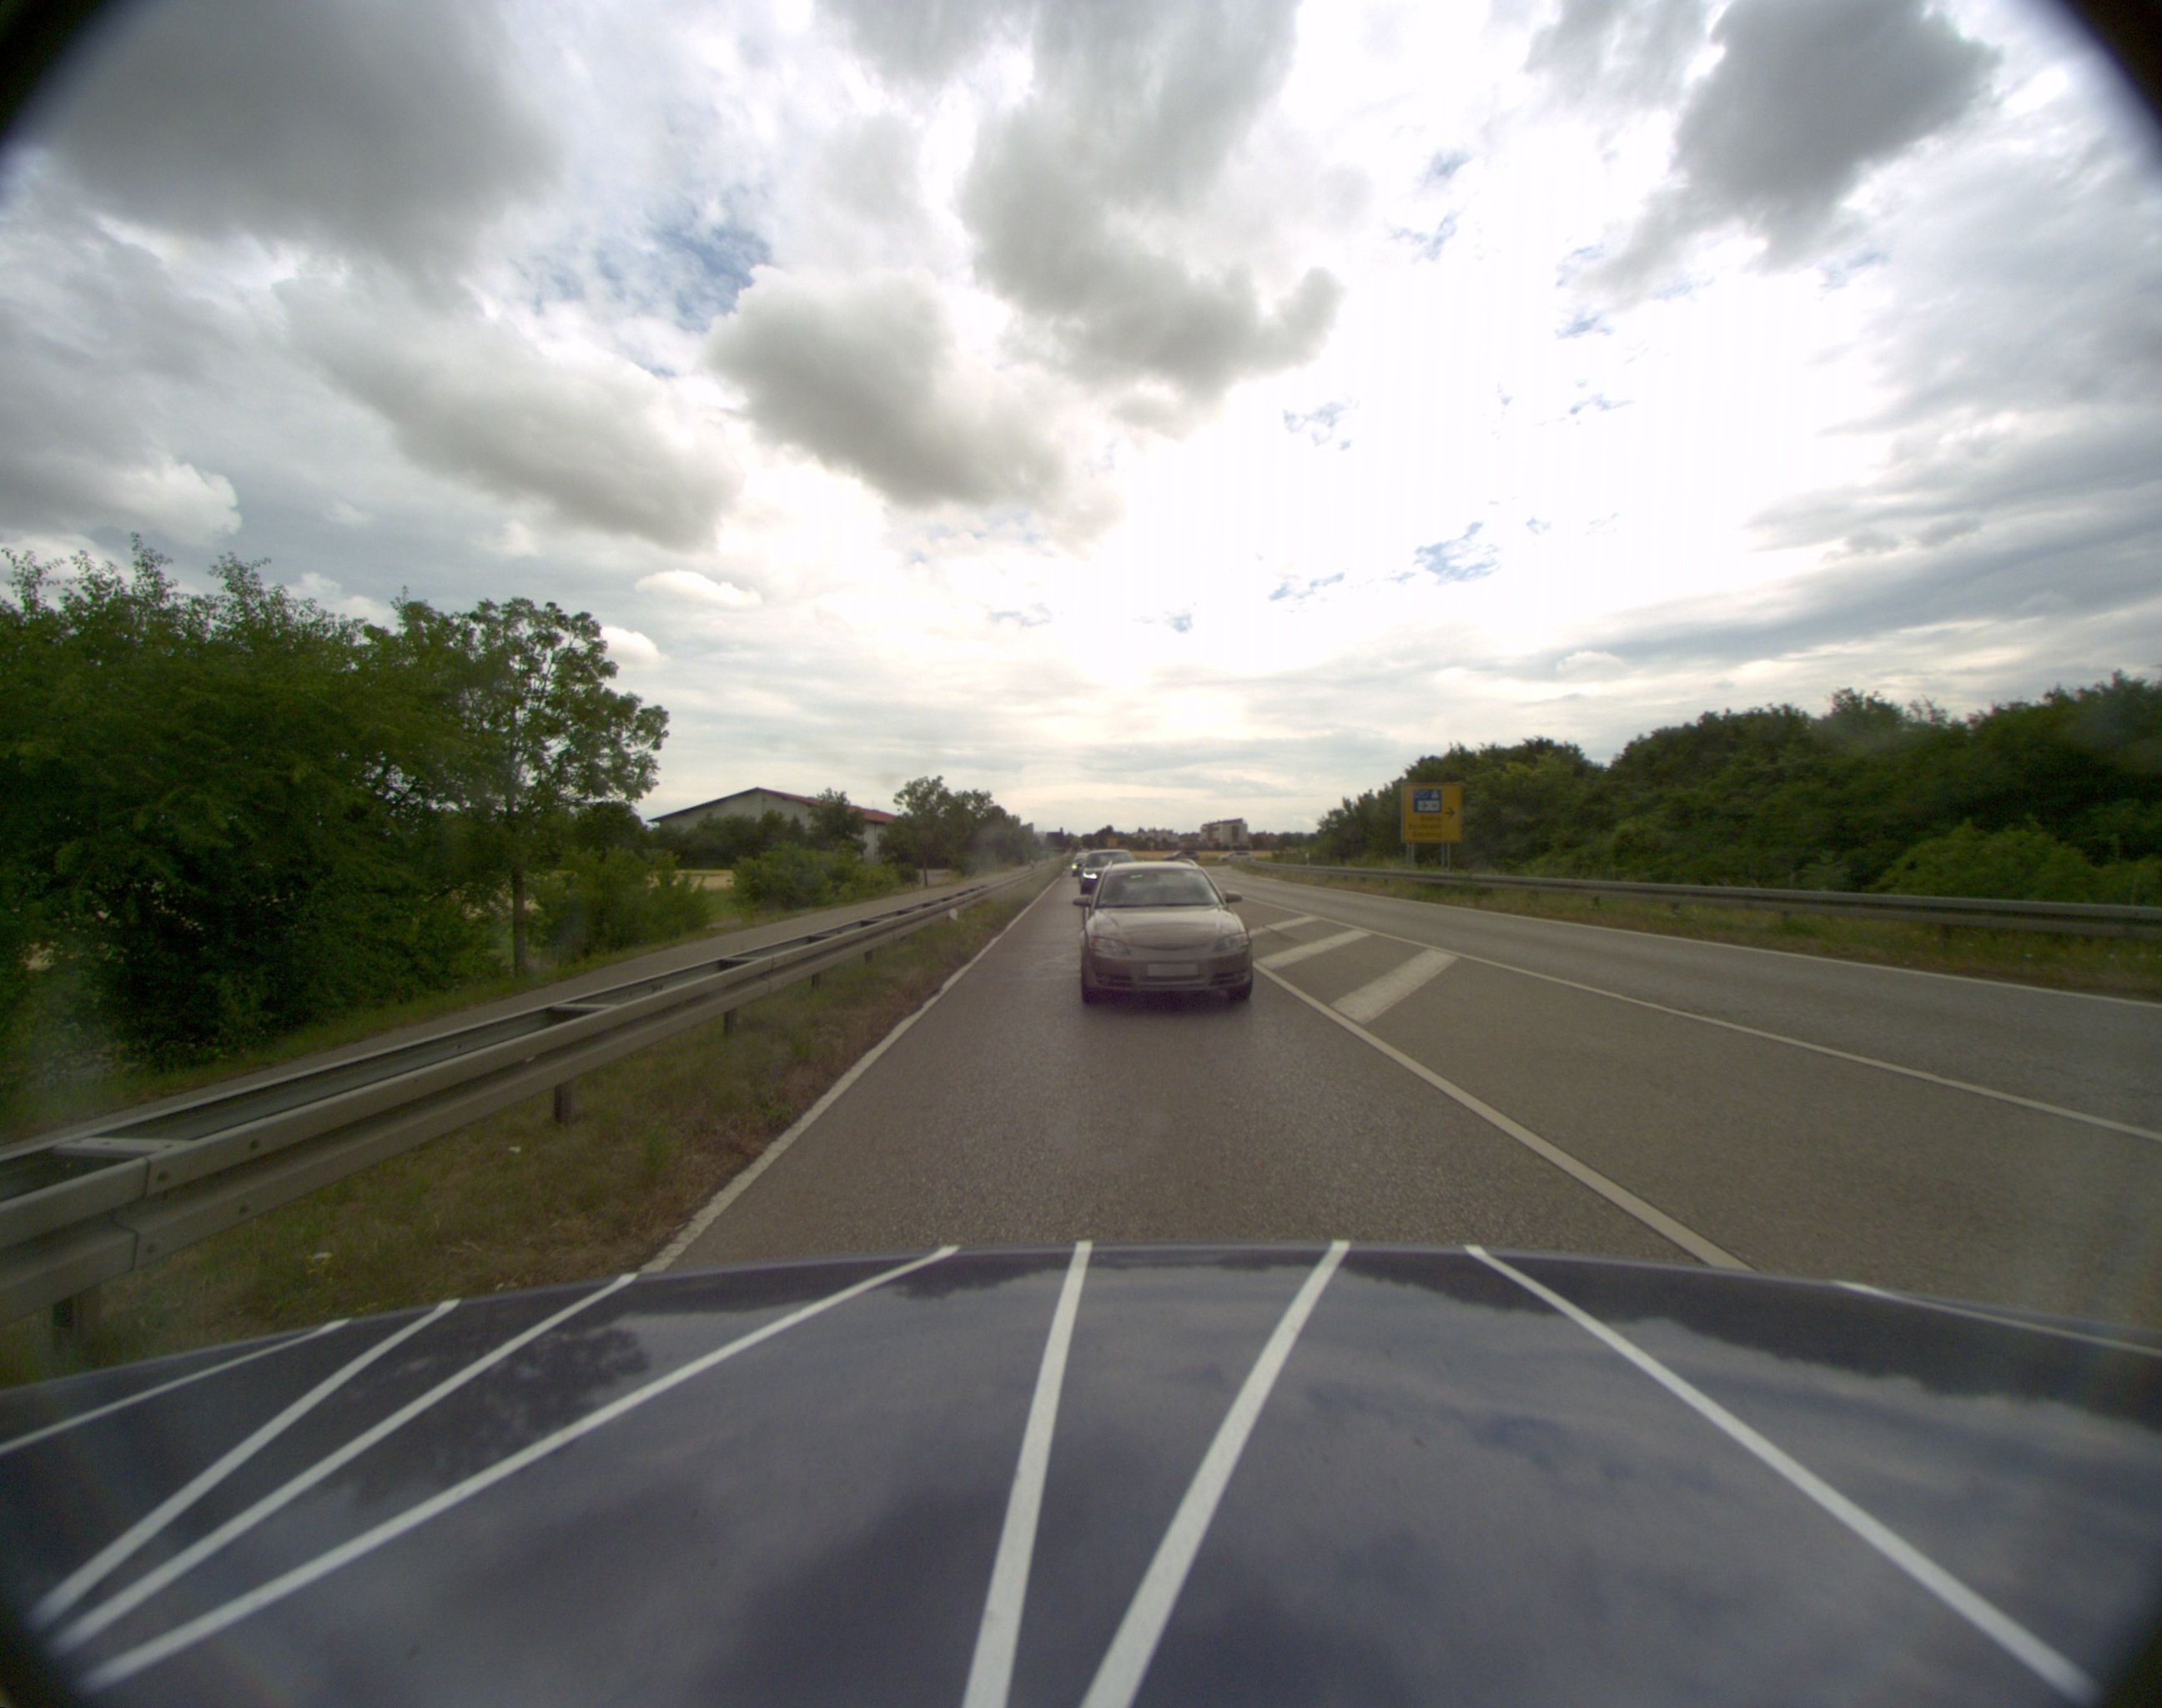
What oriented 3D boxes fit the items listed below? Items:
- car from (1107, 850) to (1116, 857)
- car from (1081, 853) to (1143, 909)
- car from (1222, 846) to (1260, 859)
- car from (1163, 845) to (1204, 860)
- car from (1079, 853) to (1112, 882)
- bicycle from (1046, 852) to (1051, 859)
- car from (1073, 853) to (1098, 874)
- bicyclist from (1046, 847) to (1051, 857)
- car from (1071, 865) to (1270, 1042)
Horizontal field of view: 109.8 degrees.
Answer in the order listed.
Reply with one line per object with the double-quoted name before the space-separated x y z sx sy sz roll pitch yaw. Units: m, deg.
"car" 6.778 -0.179 170.984 1.804 1.442 4.445 -1 1 -1
"car" 0.905 0.780 23.982 1.730 1.534 4.204 -2 0 0
"car" 20.208 -0.217 95.997 4.672 1.490 2.001 -1 1 10
"car" 12.930 -0.195 96.069 4.816 1.680 1.999 -1 1 -3
"car" 0.806 0.713 43.137 1.730 1.478 4.204 -2 0 0
"bicycle" -5.420 0.248 126.788 0.640 0.972 2.072 -1 1 0
"car" 0.306 0.714 56.862 1.730 1.436 4.204 -2 0 0
"bicyclist" -5.426 -0.303 126.759 0.640 1.573 0.969 -1 1 0
"car" 0.790 0.906 8.773 1.730 1.436 4.204 -1 0 0
